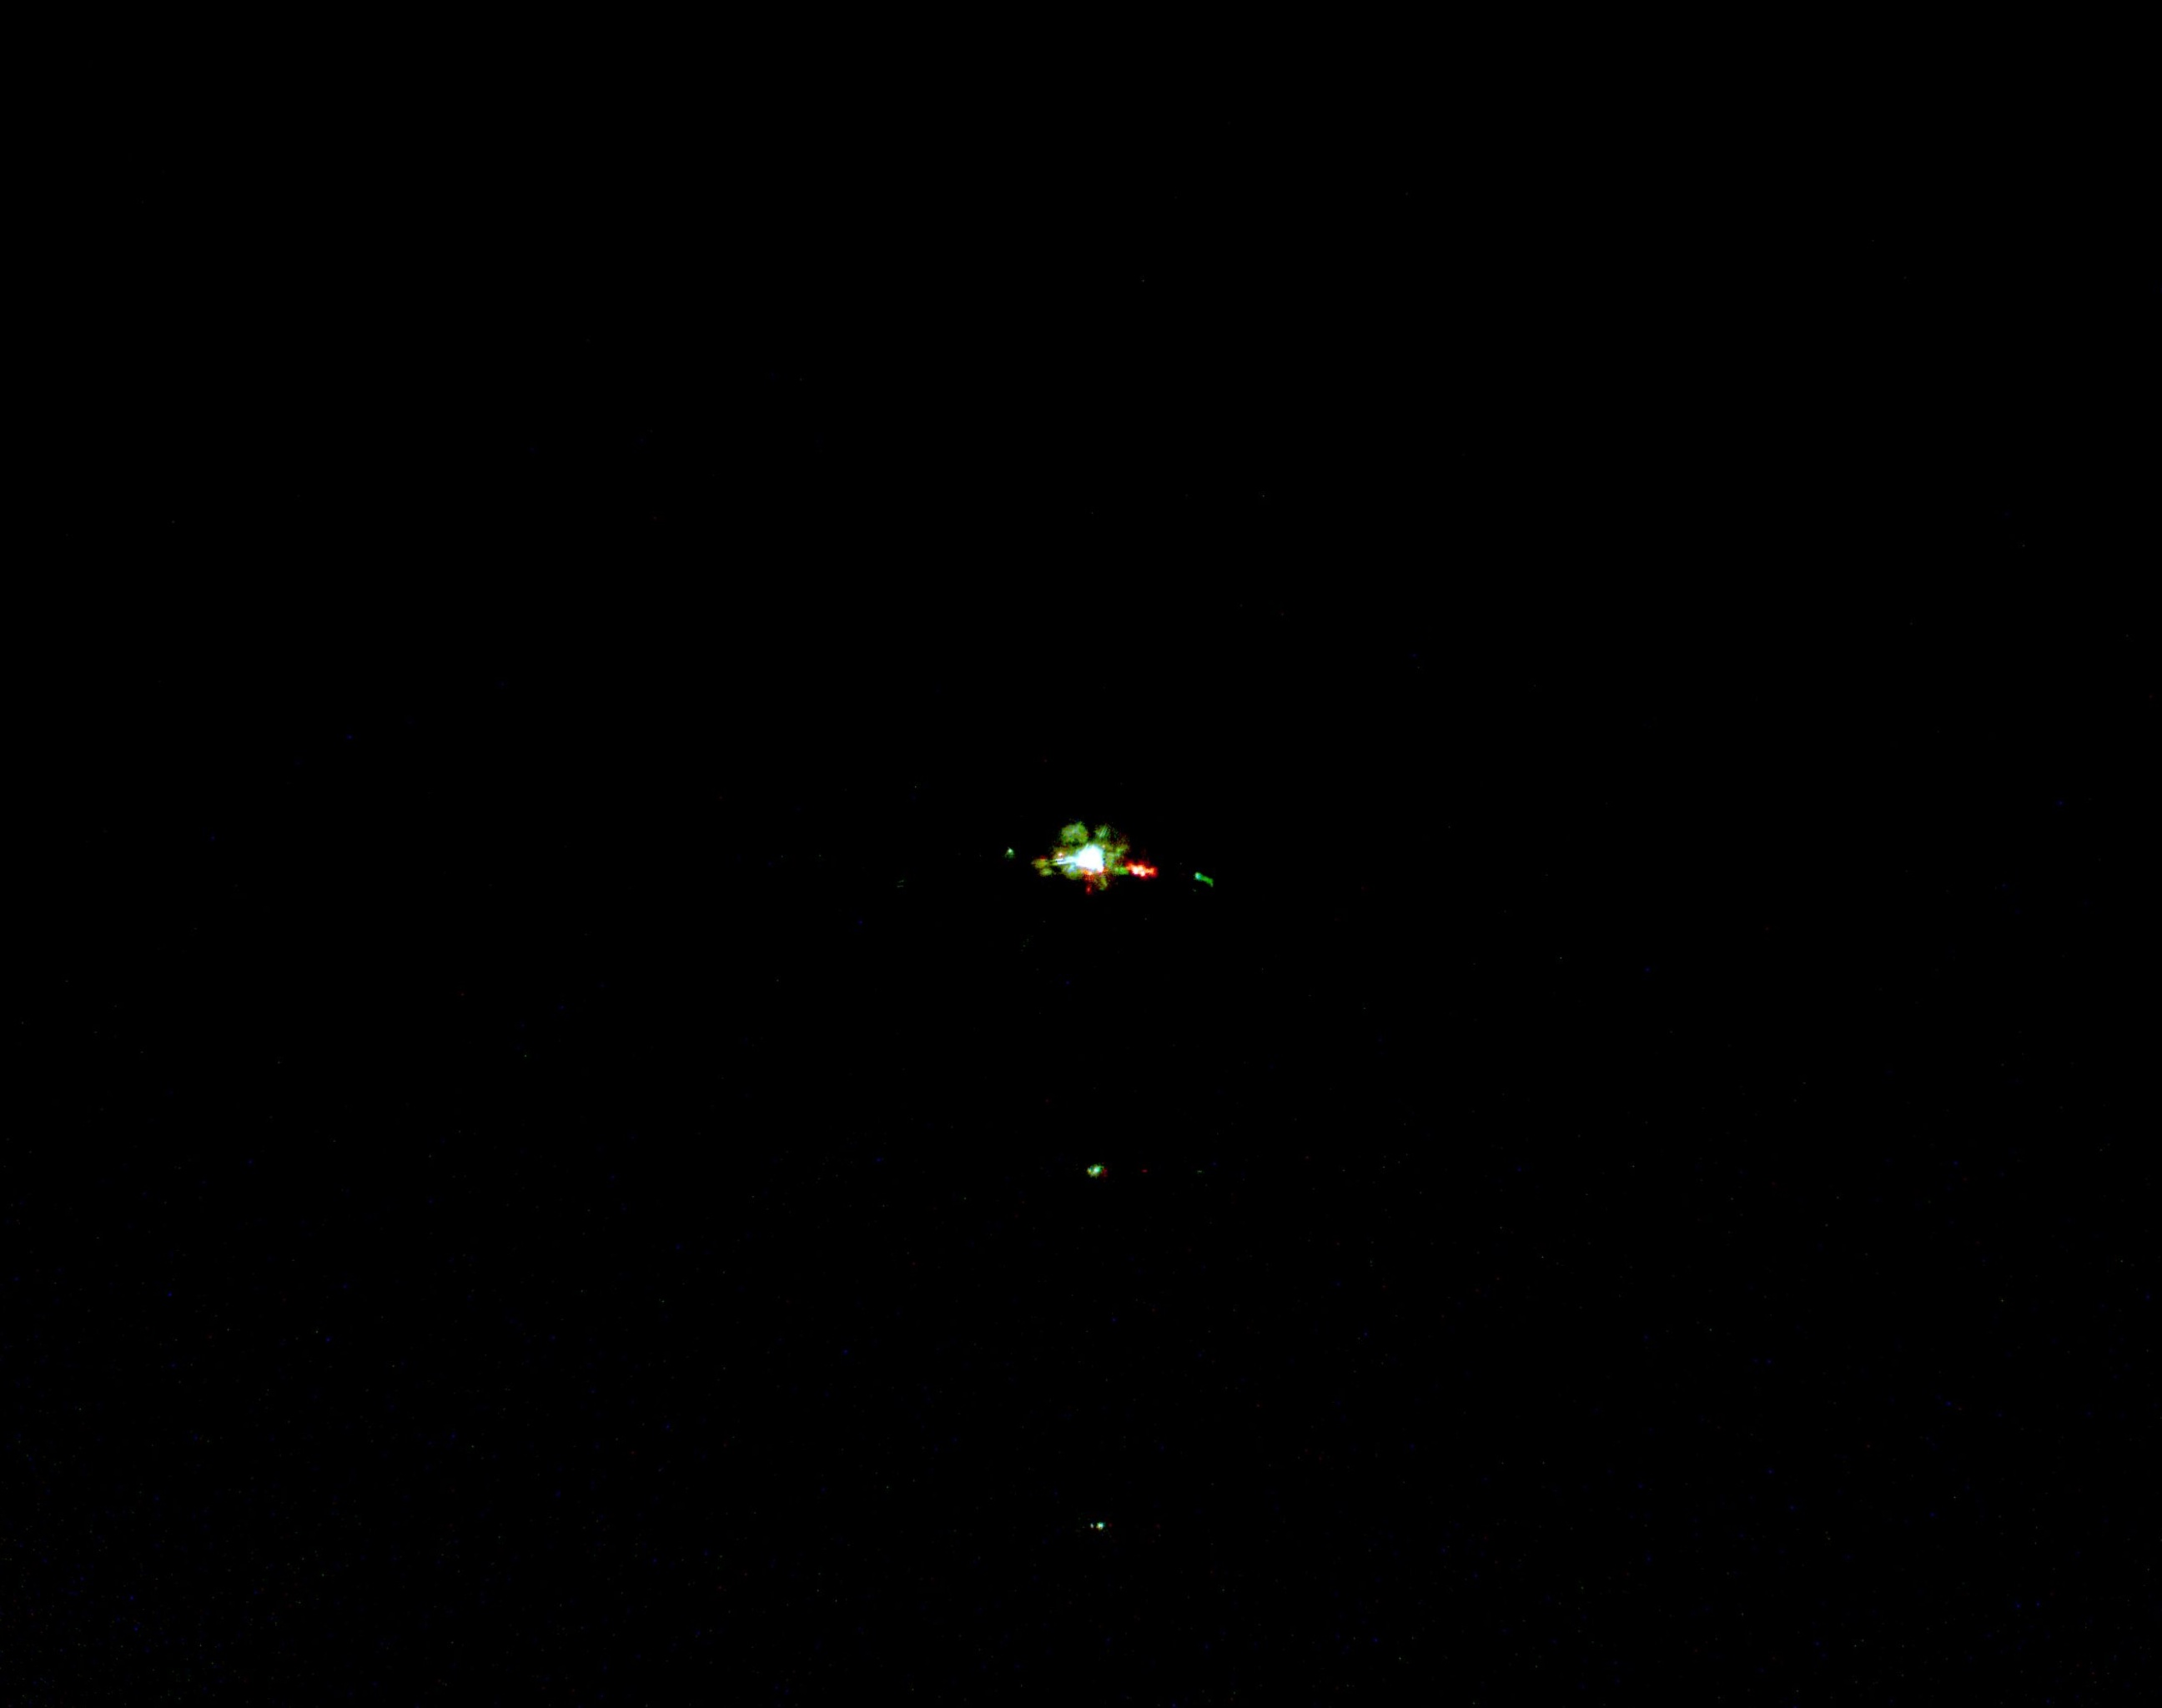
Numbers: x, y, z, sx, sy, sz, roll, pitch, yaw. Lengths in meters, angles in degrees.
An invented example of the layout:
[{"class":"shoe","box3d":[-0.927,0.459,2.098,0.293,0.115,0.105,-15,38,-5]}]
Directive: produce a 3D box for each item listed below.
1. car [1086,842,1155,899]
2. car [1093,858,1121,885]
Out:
[{"class":"car","box3d":[1.609,0.679,32.897,2.448,1.958,4.914,-4,-2,3]},{"class":"car","box3d":[2.192,1.509,70.081,1.989,2.013,3.997,-6,-1,-2]}]
